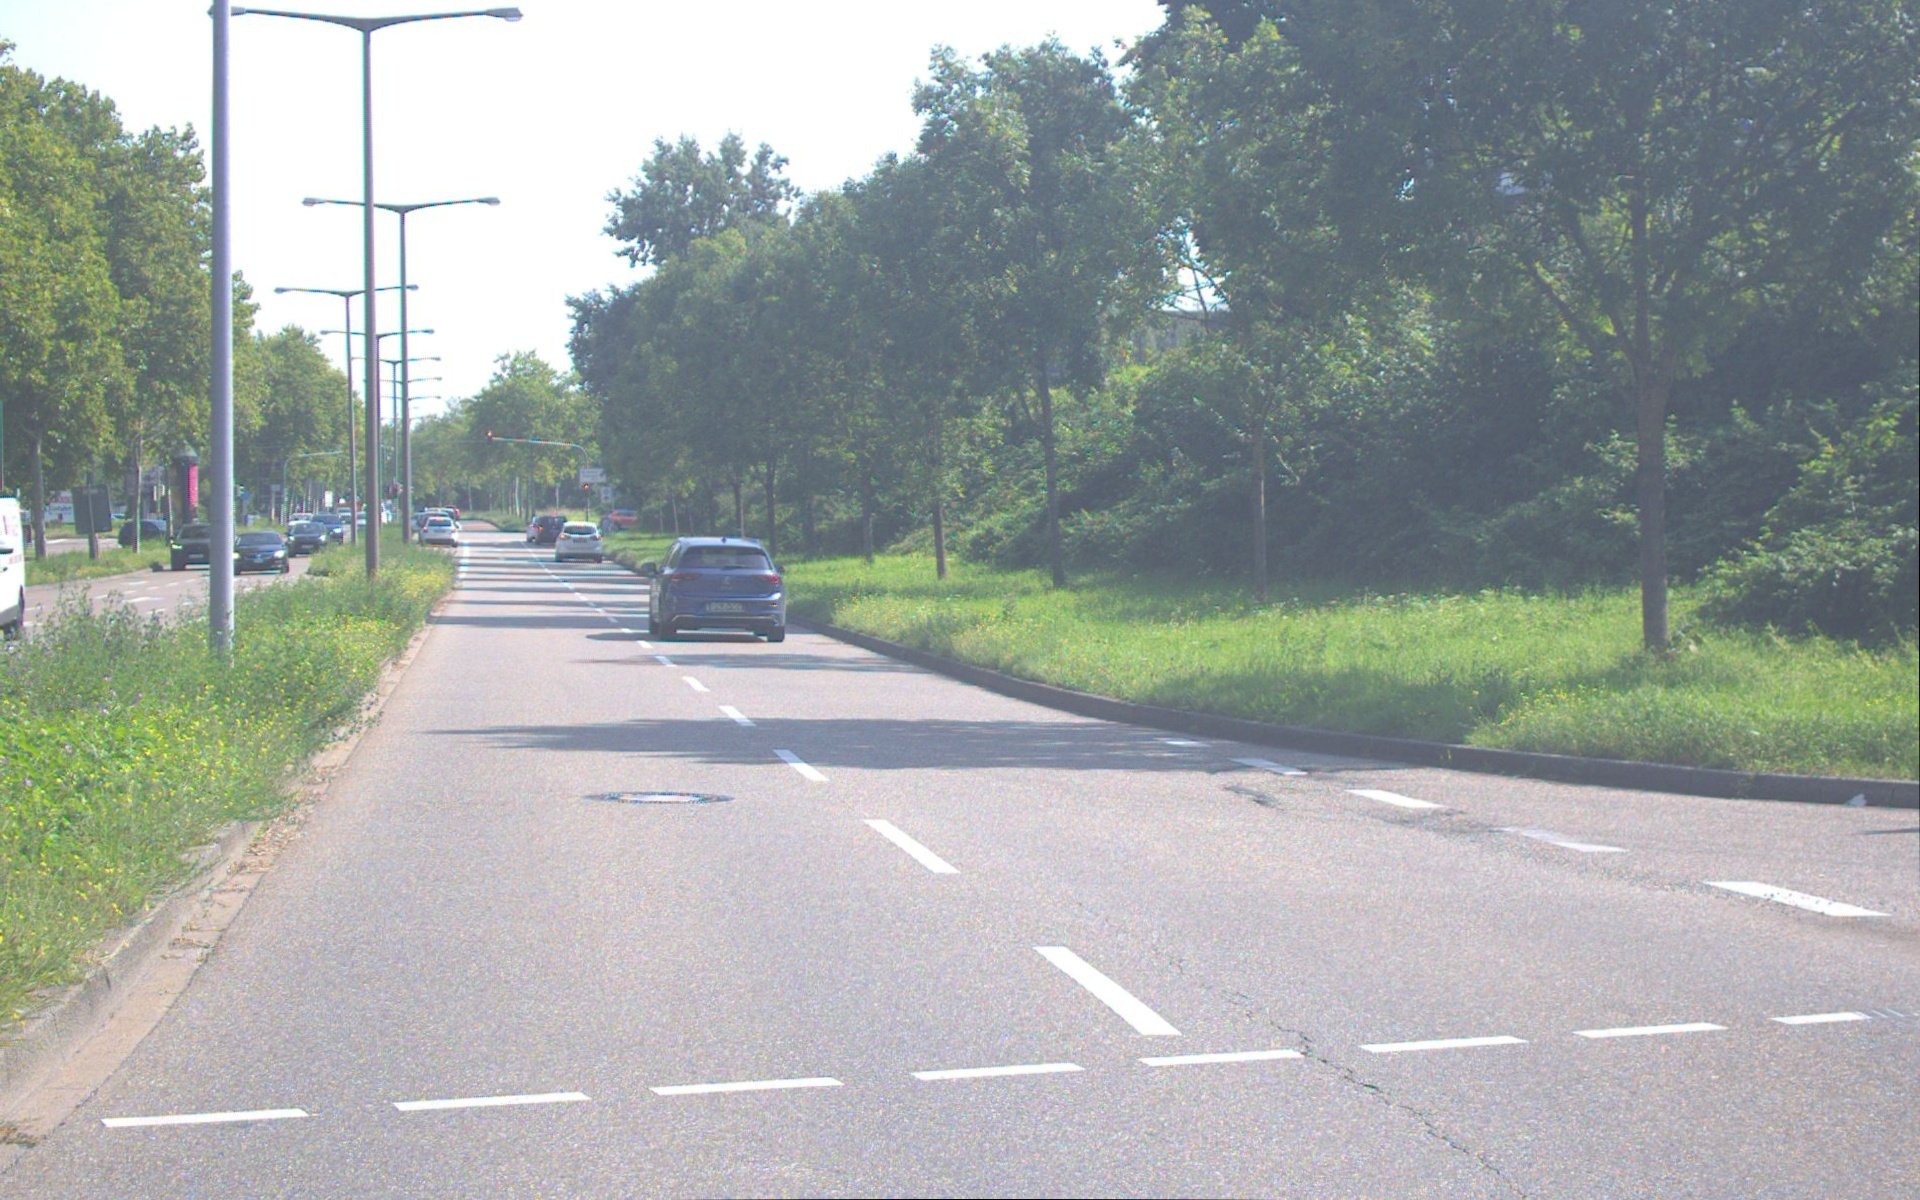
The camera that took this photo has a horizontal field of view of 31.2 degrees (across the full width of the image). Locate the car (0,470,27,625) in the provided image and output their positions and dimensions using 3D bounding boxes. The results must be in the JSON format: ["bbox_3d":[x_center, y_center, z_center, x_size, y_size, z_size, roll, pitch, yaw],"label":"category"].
[{"bbox_3d":[-13.400,-0.684,44.797,1.926,1.953,5.191,-2,3,-11],"label":"car"}]

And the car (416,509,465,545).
[{"bbox_3d":[-25.282,-3.534,167.372,1.993,1.696,4.001,-1,1,-3],"label":"car"}]

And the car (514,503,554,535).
[{"bbox_3d":[-23.482,-4.449,189.572,1.993,1.648,4.001,2,0,-9],"label":"car"}]

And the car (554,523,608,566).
[{"bbox_3d":[-15.202,-2.230,137.737,1.993,1.648,4.001,-1,1,-8],"label":"car"}]

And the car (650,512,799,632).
[{"bbox_3d":[-3.372,-0.426,48.624,1.780,1.423,4.002,1,4,-8],"label":"car"}]

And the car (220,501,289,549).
[{"bbox_3d":[-23.073,-2.466,112.556,1.845,1.484,4.645,-2,2,-7],"label":"car"}]

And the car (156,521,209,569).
[{"bbox_3d":[-28.175,-1.975,124.621,1.845,1.600,4.612,0,-1,-13],"label":"car"}]
